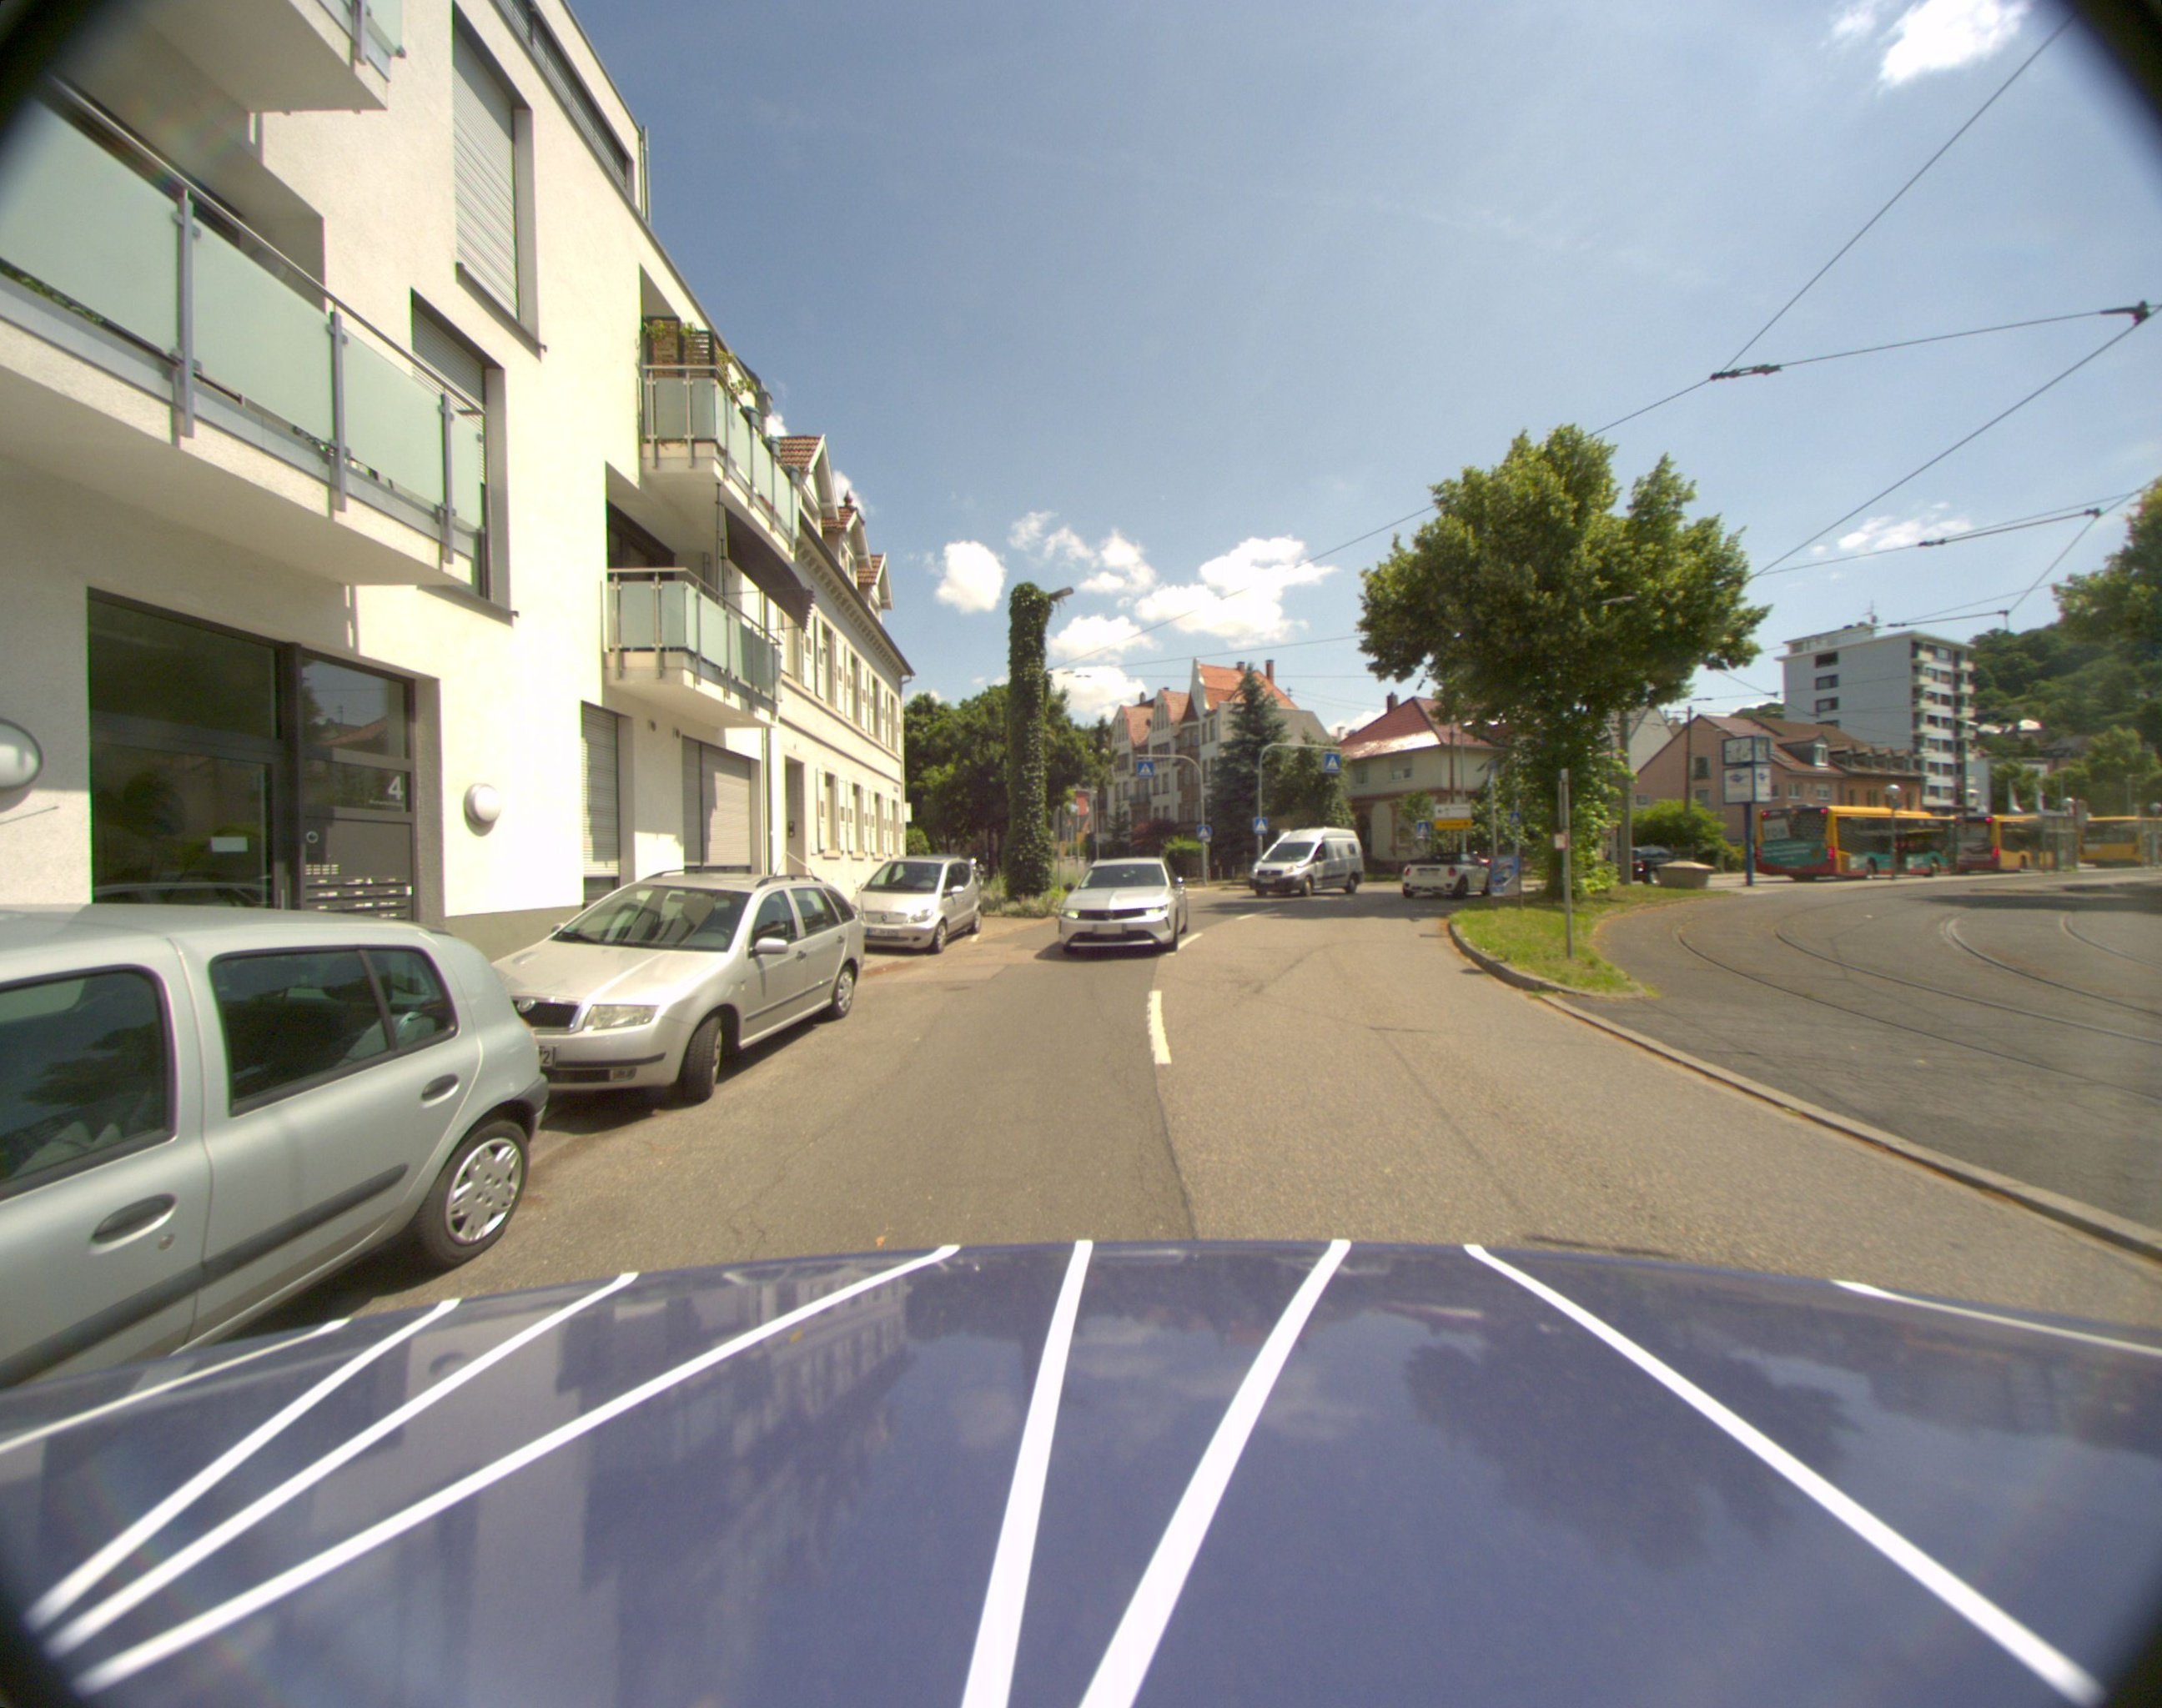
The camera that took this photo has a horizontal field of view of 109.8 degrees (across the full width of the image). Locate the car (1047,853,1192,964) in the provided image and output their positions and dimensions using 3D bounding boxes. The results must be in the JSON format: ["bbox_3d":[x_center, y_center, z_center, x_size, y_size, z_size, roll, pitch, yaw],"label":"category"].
[{"bbox_3d":[0.828,0.793,12.836,1.799,1.458,4.174,-2,1,11],"label":"car"}]

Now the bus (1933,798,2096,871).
[{"bbox_3d":[50.356,-1.058,40.876,12.223,3.586,2.692,-1,0,-25],"label":"bus"}]

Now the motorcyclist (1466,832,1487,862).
[{"bbox_3d":[16.744,-0.283,32.164,0.555,1.236,0.540,-2,1,-16],"label":"motorcyclist"}]

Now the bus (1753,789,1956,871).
[{"bbox_3d":[34.494,-1.010,33.752,10.872,3.277,2.703,-1,-1,-24],"label":"bus"}]

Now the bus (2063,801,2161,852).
[{"bbox_3d":[70.232,-1.823,51.579,10.169,3.170,2.571,-1,0,-28],"label":"bus"}]

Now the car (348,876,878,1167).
[{"bbox_3d":[-3.193,1.001,6.299,1.730,1.425,4.043,2,1,3],"label":"car"}]

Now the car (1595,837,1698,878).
[{"bbox_3d":[24.196,0.138,32.506,4.335,1.622,1.858,-1,0,-28],"label":"car"}]

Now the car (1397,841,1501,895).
[{"bbox_3d":[11.356,0.378,23.347,1.774,1.456,3.754,0,2,44],"label":"car"}]

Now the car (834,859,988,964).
[{"bbox_3d":[-3.005,0.943,14.252,1.730,1.602,3.801,1,1,5],"label":"car"}]

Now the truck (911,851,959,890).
[{"bbox_3d":[-7.713,0.844,39.834,1.917,1.915,5.274,0,-1,-17],"label":"truck"}]

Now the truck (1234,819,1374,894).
[{"bbox_3d":[7.501,0.085,25.179,2.016,2.235,5.419,-2,-1,45],"label":"truck"}]

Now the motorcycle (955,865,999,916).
[{"bbox_3d":[-3.002,1.029,22.223,0.802,1.344,2.338,-2,0,3],"label":"motorcycle"}]

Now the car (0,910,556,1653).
[{"bbox_3d":[-3.126,1.002,1.544,1.597,1.425,3.705,2,1,-2],"label":"car"}]

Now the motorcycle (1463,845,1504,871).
[{"bbox_3d":[17.090,0.171,32.262,1.437,1.051,0.668,-2,0,-15],"label":"motorcycle"}]

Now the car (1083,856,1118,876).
[{"bbox_3d":[1.627,1.015,64.909,1.776,1.506,3.994,4,-2,-17],"label":"car"}]

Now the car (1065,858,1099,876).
[{"bbox_3d":[0.066,1.146,69.935,1.776,1.506,3.993,4,-2,-19],"label":"car"}]

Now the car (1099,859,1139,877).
[{"bbox_3d":[2.957,1.097,59.925,1.820,1.318,3.995,-1,-1,-17],"label":"car"}]
